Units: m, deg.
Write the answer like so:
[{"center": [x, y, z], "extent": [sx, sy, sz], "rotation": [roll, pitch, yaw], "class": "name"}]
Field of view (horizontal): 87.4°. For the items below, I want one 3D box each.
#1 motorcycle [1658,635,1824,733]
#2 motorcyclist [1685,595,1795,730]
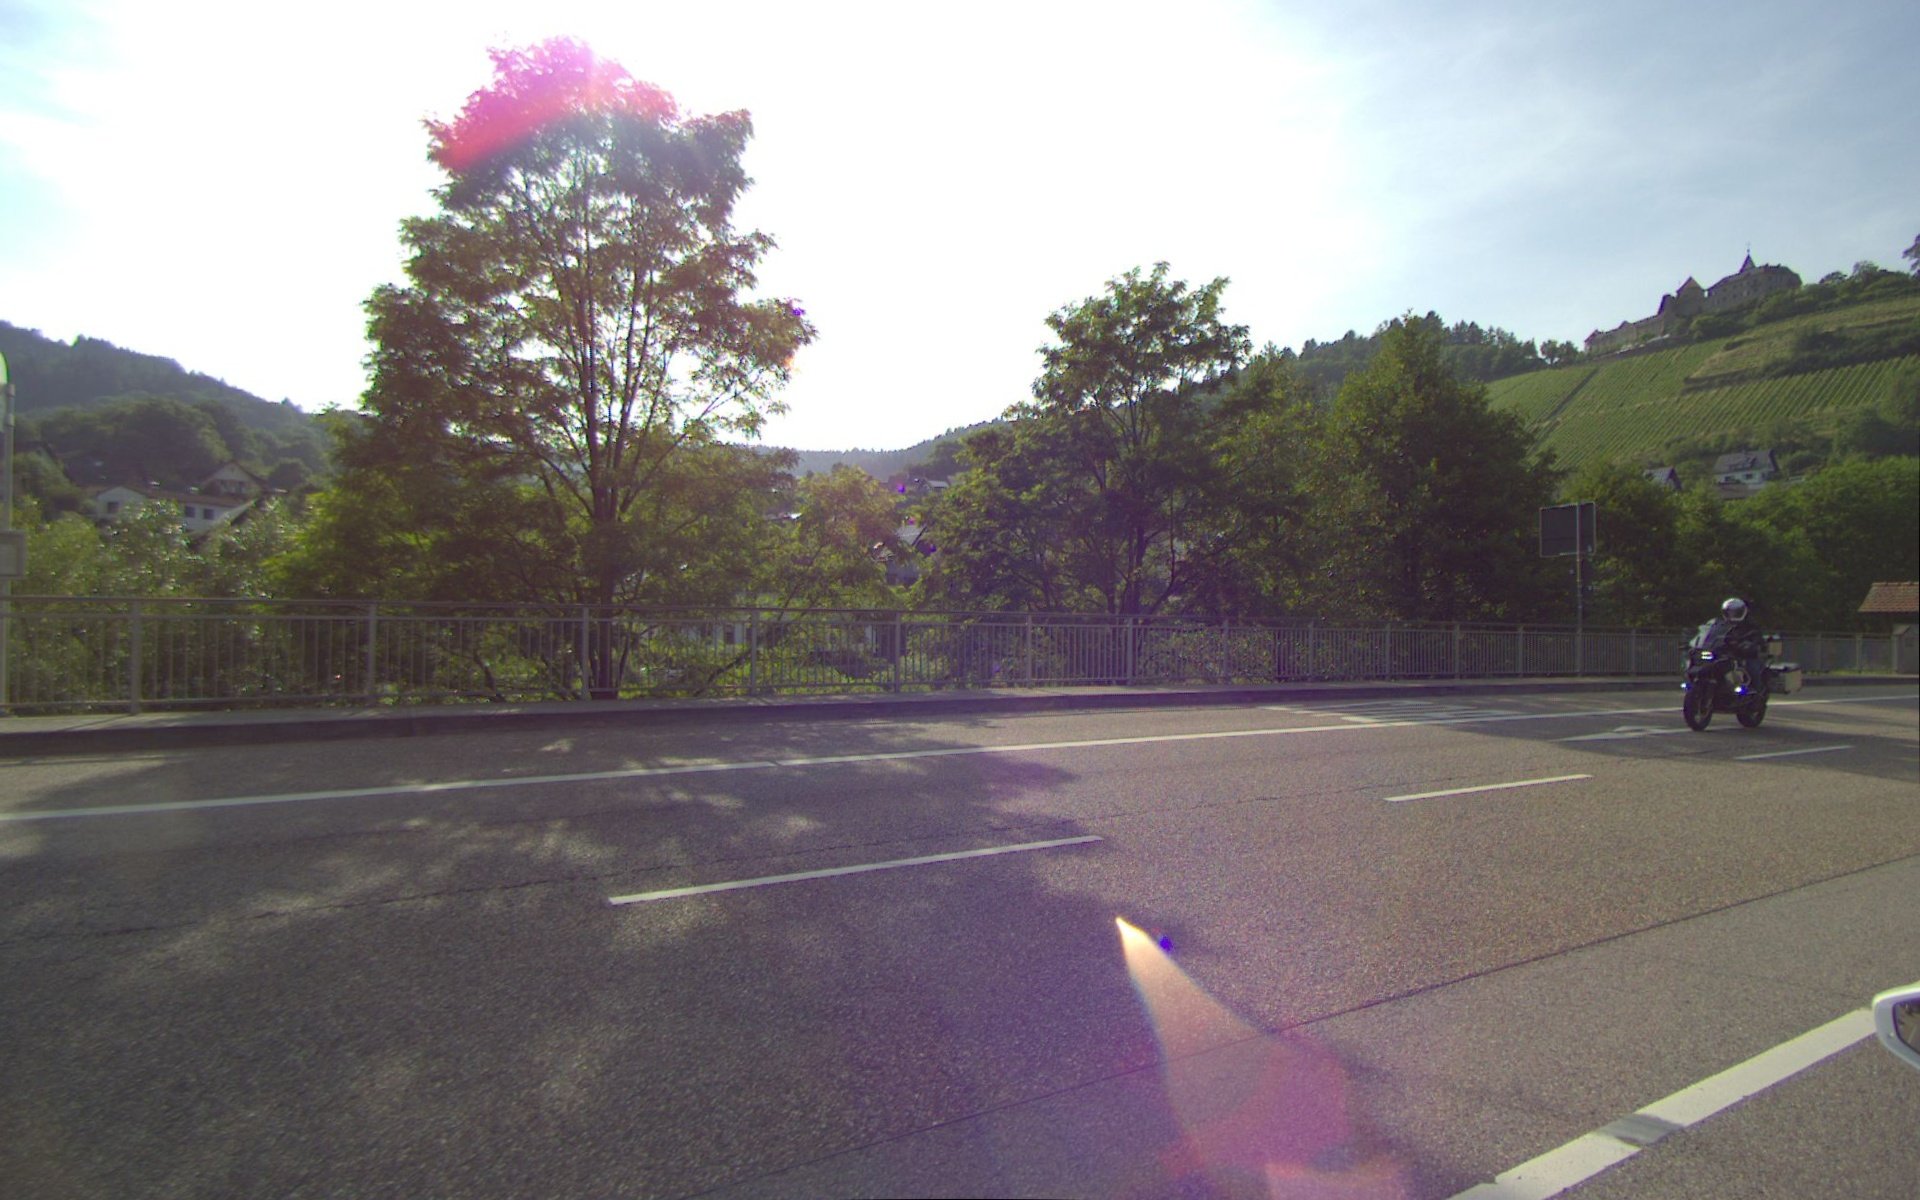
[{"center": [11.019, 1.132, 14.149], "extent": [2.541, 1.237, 0.968], "rotation": [1, 0, -30], "class": "motorcycle"}, {"center": [10.981, 0.850, 14.147], "extent": [1.158, 1.808, 0.841], "rotation": [1, 0, -30], "class": "motorcyclist"}]
